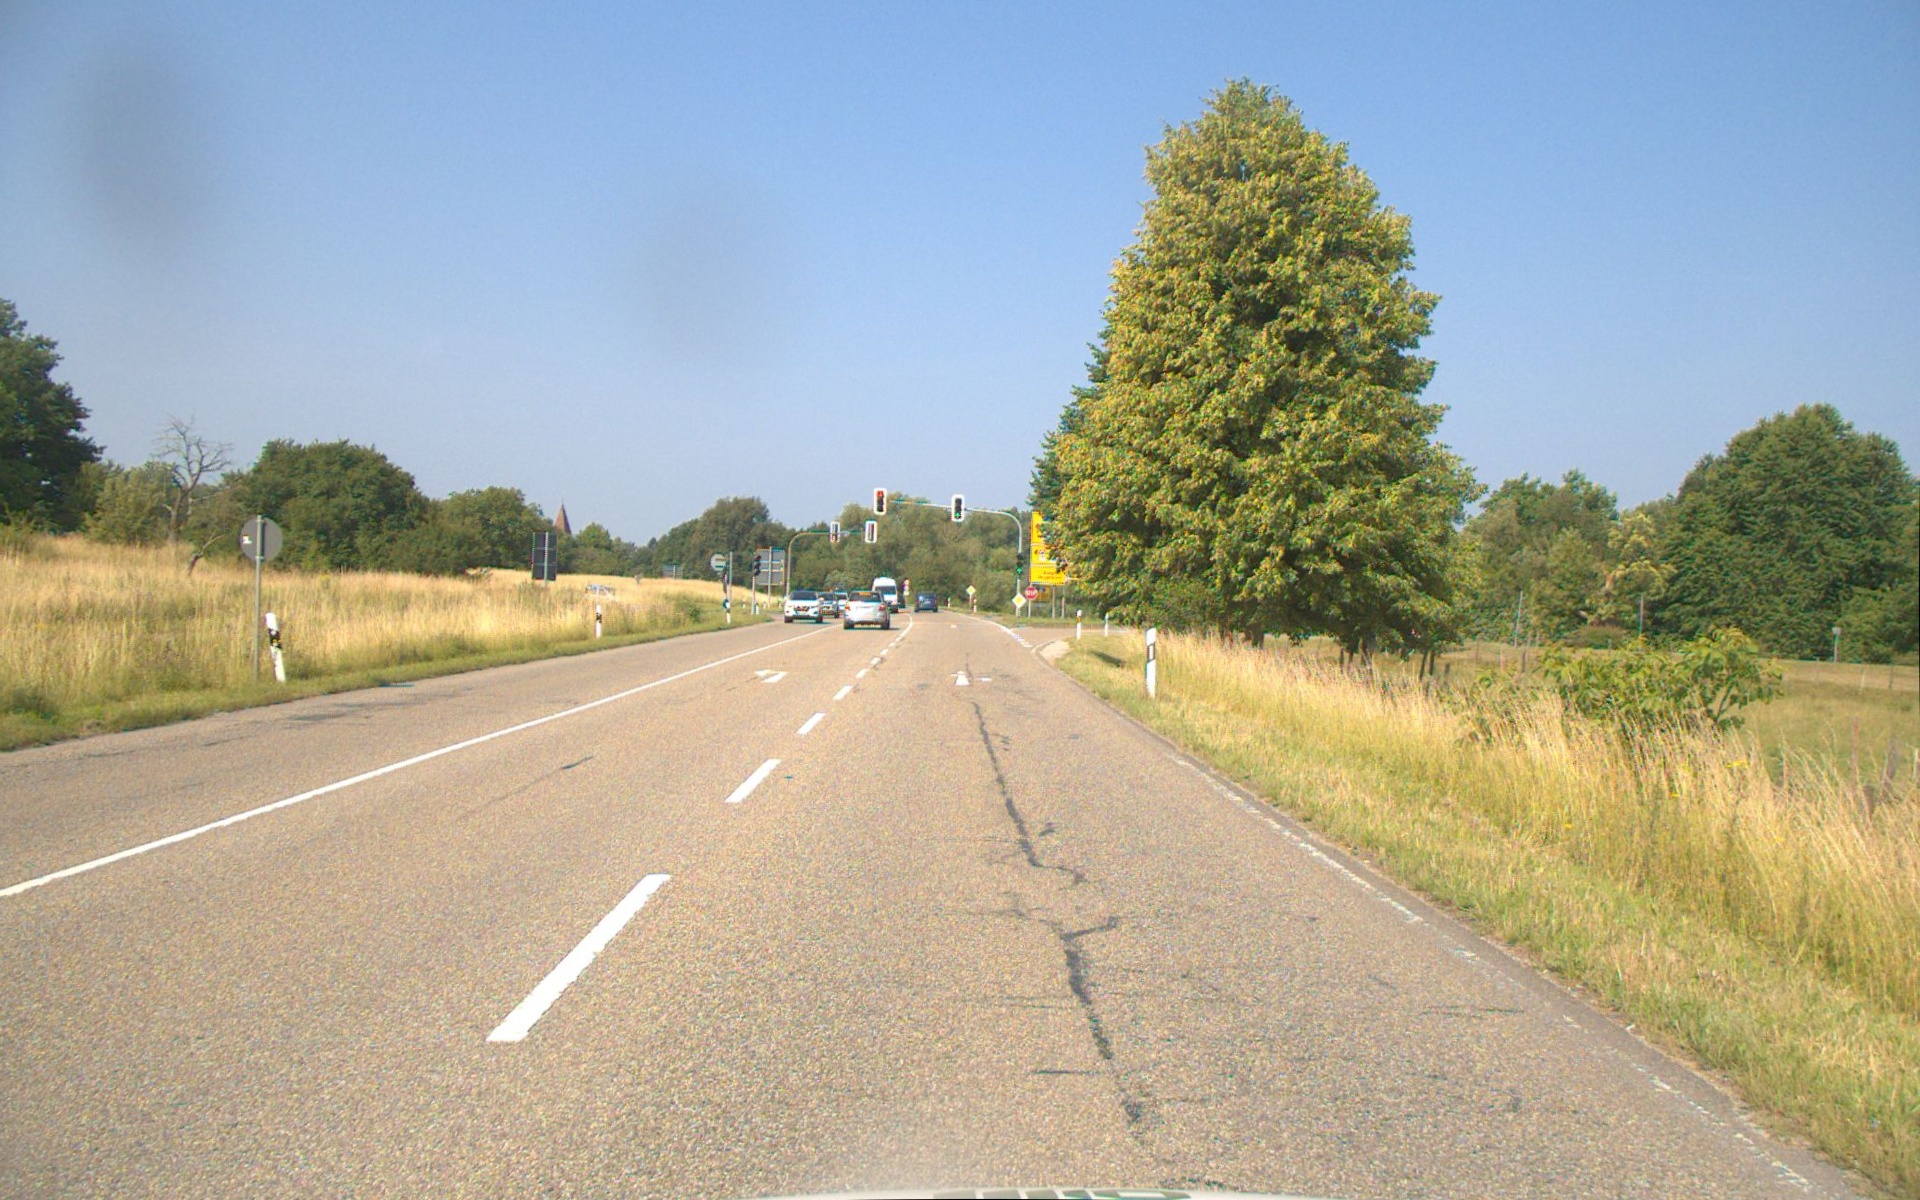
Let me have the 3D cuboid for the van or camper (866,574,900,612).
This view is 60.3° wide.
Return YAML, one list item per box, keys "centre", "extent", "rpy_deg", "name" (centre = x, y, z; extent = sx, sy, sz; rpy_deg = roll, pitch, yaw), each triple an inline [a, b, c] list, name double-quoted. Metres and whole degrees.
- centre: [-5.982, -0.556, 129.364]
  extent: [2.219, 2.756, 5.262]
  rpy_deg: [4, 0, 0]
  name: "van or camper"

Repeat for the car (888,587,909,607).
- centre: [-6.090, -0.336, 163.848]
  extent: [1.954, 1.847, 3.999]
  rpy_deg: [4, 0, -1]
  name: "car"

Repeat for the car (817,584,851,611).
- centre: [-8.897, -0.203, 116.932]
  extent: [1.893, 1.757, 4.001]
  rpy_deg: [4, 0, 2]
  name: "car"

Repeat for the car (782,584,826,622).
- centre: [-7.824, 0.130, 83.241]
  extent: [1.559, 1.757, 4.001]
  rpy_deg: [4, 0, 2]
  name: "car"

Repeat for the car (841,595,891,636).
- centre: [-3.979, 0.642, 70.548]
  extent: [1.861, 1.538, 3.999]
  rpy_deg: [4, 0, -1]
  name: "car"

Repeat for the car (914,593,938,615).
- centre: [-2.710, 0.294, 132.712]
  extent: [1.779, 1.547, 3.999]
  rpy_deg: [4, 0, -1]
  name: "car"

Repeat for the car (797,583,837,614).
- centre: [-8.832, -0.085, 102.362]
  extent: [1.893, 1.757, 4.001]
  rpy_deg: [4, 0, 2]
  name: "car"
